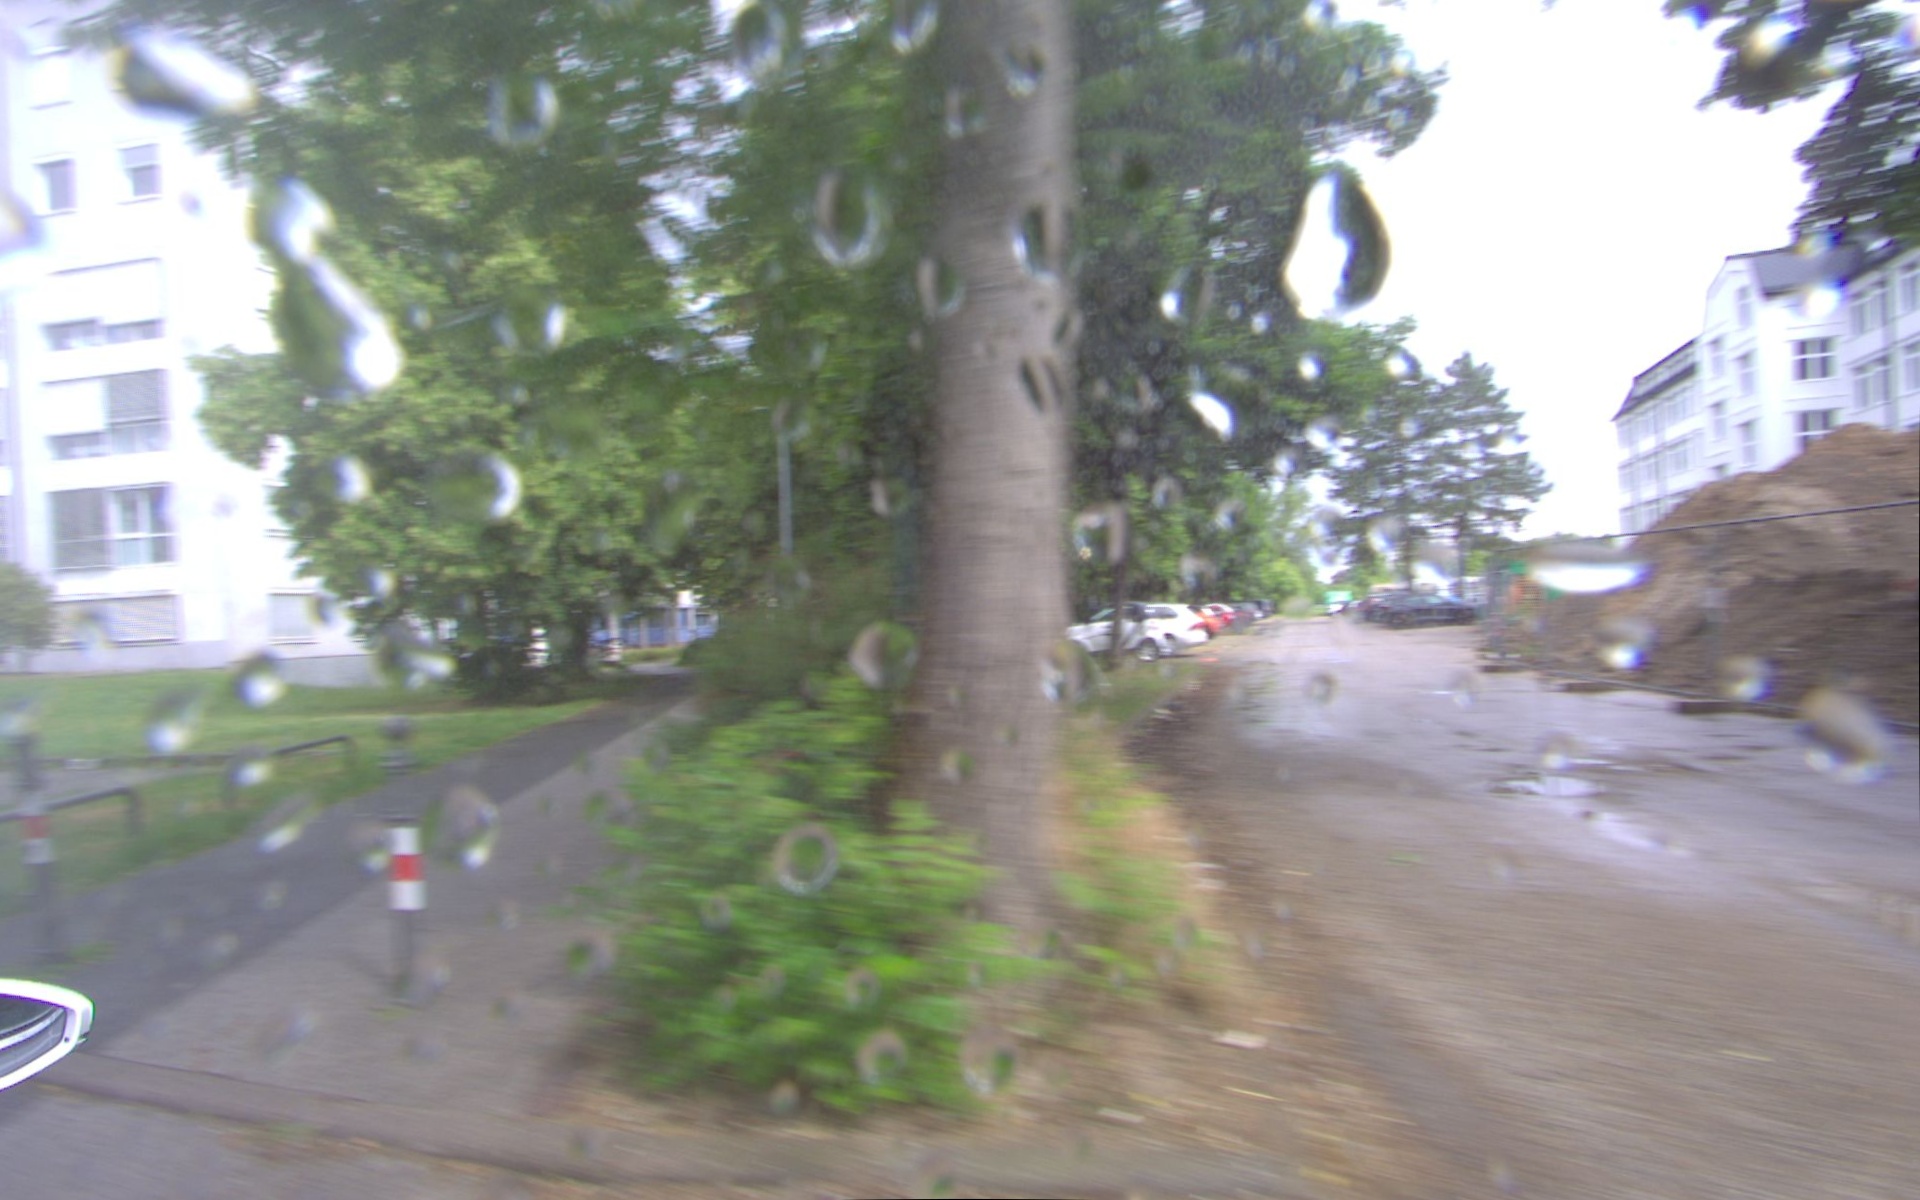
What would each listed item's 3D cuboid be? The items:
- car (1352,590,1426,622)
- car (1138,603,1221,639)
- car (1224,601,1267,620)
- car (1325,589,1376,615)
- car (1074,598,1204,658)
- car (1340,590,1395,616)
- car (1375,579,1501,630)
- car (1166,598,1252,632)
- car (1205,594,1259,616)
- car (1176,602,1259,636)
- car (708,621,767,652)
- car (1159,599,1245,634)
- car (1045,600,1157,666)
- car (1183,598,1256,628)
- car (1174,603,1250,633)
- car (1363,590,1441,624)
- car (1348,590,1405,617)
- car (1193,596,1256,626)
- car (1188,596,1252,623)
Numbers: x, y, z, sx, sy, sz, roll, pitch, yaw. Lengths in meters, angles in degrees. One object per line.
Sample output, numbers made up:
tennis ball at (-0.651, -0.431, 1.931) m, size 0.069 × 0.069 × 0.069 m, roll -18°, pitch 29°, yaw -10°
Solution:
car at (26.292, 0.357, 61.535) m, size 3.931 × 1.755 × 1.995 m, roll -3°, pitch 0°, yaw 19°
car at (9.266, 0.868, 42.226) m, size 3.238 × 1.444 × 1.588 m, roll -1°, pitch 1°, yaw 21°
car at (27.826, 0.996, 97.690) m, size 3.926 × 1.734 × 1.910 m, roll -1°, pitch 1°, yaw 15°
car at (34.622, 0.166, 88.891) m, size 3.927 × 1.912 × 1.997 m, roll -4°, pitch 0°, yaw 14°
car at (4.909, 0.757, 27.786) m, size 3.377 × 1.488 × 1.739 m, roll -2°, pitch 1°, yaw 6°
car at (33.597, 0.255, 82.631) m, size 3.929 × 1.865 × 1.996 m, roll -4°, pitch 0°, yaw 16°
car at (21.165, 0.197, 44.563) m, size 4.705 × 1.966 × 2.397 m, roll -3°, pitch 0°, yaw 19°
car at (12.110, 0.719, 48.574) m, size 3.929 × 1.516 × 1.989 m, roll -1°, pitch 1°, yaw 18°
car at (20.184, 0.359, 74.471) m, size 3.798 × 1.594 × 1.955 m, roll -1°, pitch 1°, yaw 14°
car at (13.294, 0.970, 51.887) m, size 4.044 × 1.673 × 1.844 m, roll -1°, pitch 1°, yaw 13°
car at (-14.467, 2.365, 65.239) m, size 1.964 × 1.814 × 4.227 m, roll -1°, pitch 1°, yaw 16°
car at (11.256, 0.774, 46.575) m, size 3.738 × 1.550 × 1.905 m, roll -1°, pitch 1°, yaw 19°
car at (3.589, 0.825, 25.684) m, size 2.709 × 1.504 × 1.592 m, roll -2°, pitch 1°, yaw 6°
car at (14.785, 0.739, 57.069) m, size 3.927 × 1.581 × 1.761 m, roll -1°, pitch 1°, yaw 15°
car at (13.592, 0.968, 54.130) m, size 3.882 × 1.537 × 1.803 m, roll -1°, pitch 1°, yaw 14°
car at (26.001, 0.408, 59.047) m, size 3.931 × 1.747 × 1.995 m, roll -3°, pitch 0°, yaw 19°
car at (33.187, 0.298, 79.885) m, size 3.929 × 1.865 × 1.996 m, roll -4°, pitch 0°, yaw 16°
car at (15.769, 0.648, 59.827) m, size 3.531 × 1.642 × 1.867 m, roll -1°, pitch 1°, yaw 12°
car at (16.105, 0.596, 62.123) m, size 3.798 × 1.594 × 1.955 m, roll -1°, pitch 1°, yaw 14°
